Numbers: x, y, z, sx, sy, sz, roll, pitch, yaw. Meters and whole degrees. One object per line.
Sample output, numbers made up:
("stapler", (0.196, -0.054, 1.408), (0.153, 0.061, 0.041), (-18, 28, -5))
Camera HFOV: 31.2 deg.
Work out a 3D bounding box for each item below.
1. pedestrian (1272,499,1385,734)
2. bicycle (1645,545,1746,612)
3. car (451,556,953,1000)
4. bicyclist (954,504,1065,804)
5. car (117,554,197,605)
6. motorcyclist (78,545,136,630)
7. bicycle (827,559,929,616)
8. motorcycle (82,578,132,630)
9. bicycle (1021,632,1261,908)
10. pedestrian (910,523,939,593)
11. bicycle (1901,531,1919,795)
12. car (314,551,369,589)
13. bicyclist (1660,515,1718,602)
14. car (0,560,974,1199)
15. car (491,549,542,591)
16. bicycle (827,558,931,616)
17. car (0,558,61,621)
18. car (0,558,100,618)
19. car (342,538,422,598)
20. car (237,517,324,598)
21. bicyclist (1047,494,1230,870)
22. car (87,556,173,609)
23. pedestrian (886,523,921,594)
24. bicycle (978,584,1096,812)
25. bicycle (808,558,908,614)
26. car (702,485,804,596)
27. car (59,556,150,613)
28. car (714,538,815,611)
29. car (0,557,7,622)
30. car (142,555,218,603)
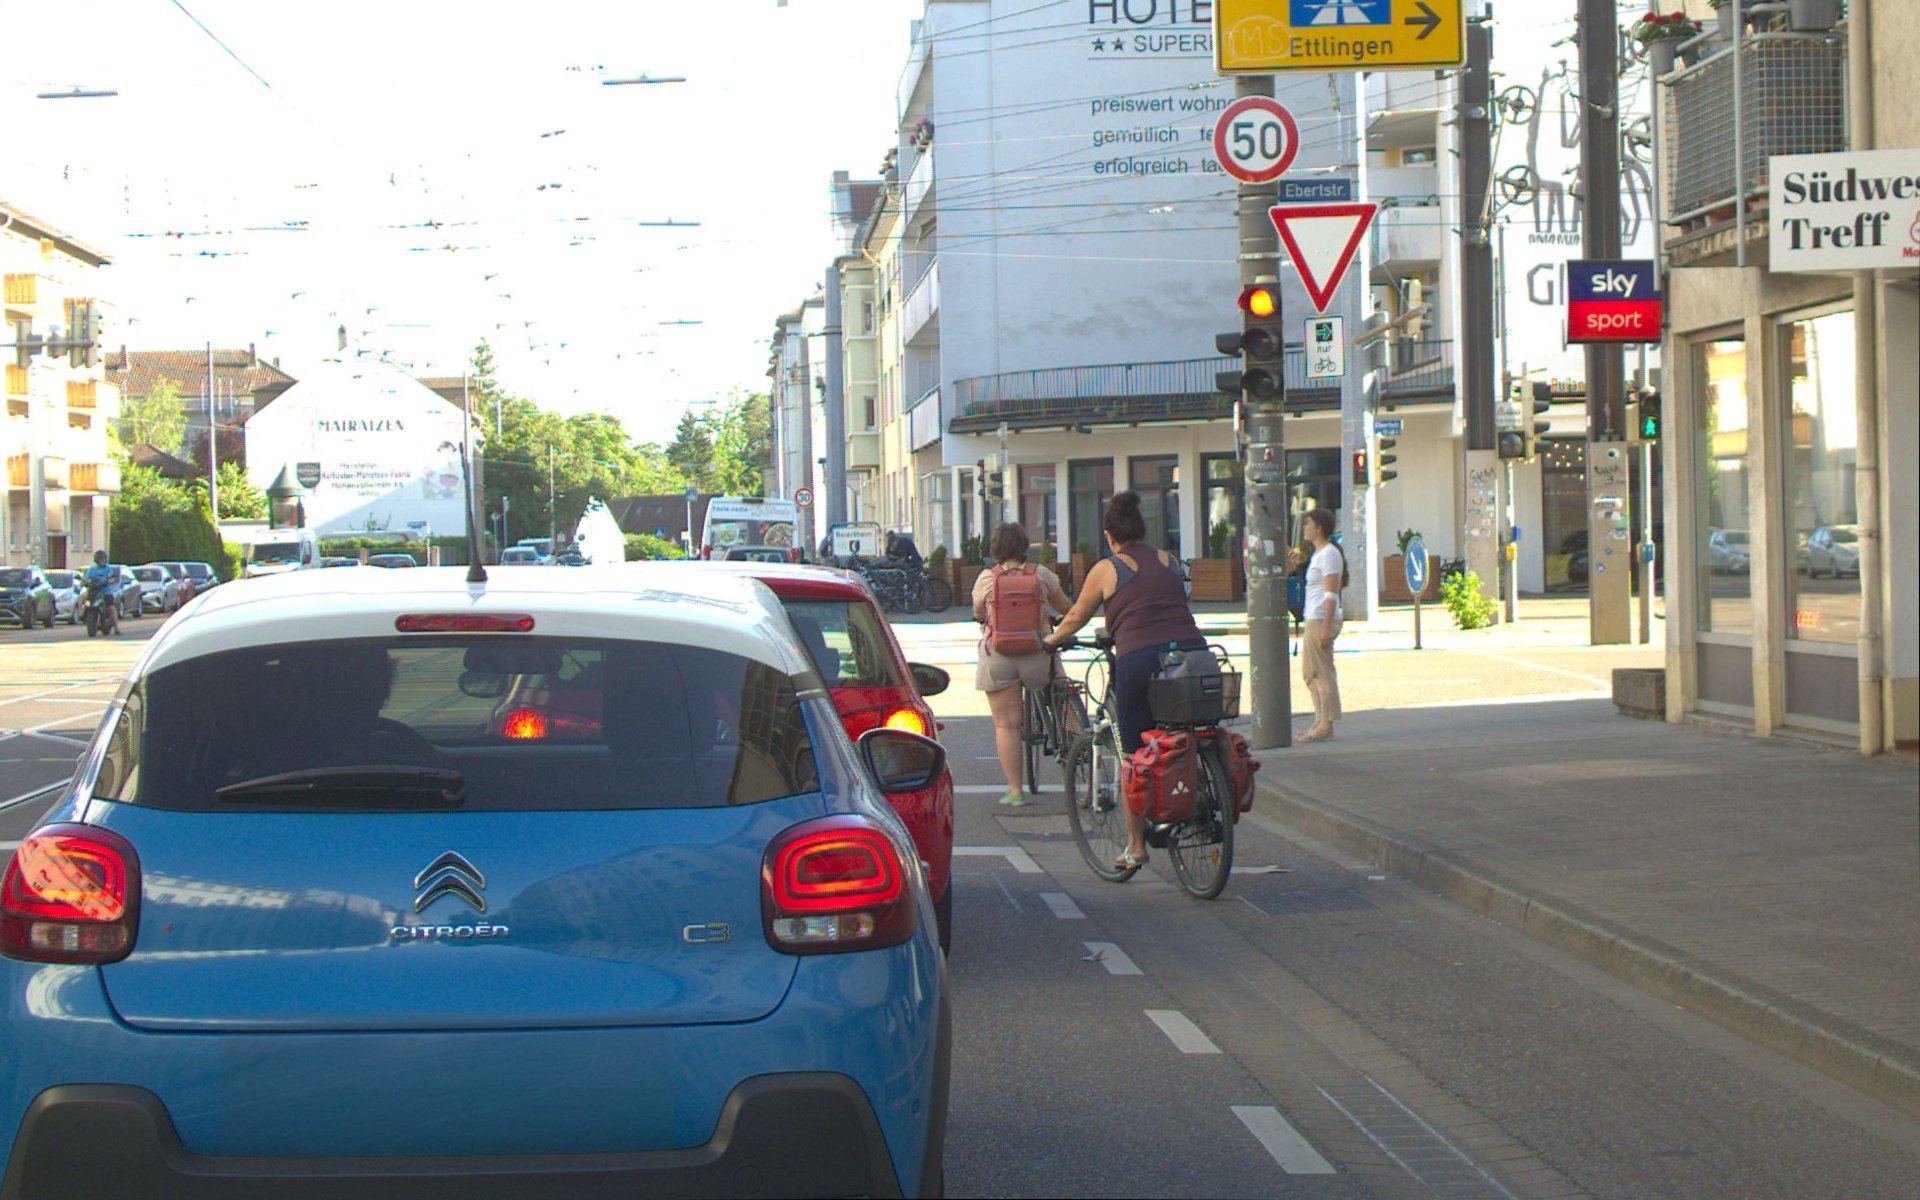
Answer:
("pedestrian", (2.607, 0.106, 24.380), (0.751, 1.629, 0.740), (-1, 1, 6))
("bicycle", (12.151, -0.356, 56.790), (1.492, 1.087, 0.604), (0, 1, 37))
("car", (-1.007, 0.577, 13.590), (1.680, 1.457, 4.001), (0, 1, -4))
("bicyclist", (0.289, 0.303, 20.605), (0.600, 1.740, 1.084), (-1, 1, -1))
("car", (-25.359, -0.675, 108.663), (1.950, 1.514, 4.001), (-1, 1, -6))
("motorcyclist", (-16.675, -0.254, 67.218), (0.991, 1.625, 0.739), (-1, 1, -9))
("bicycle", (-1.607, -0.240, 67.126), (1.904, 1.061, 0.642), (-1, 1, -7))
("motorcycle", (-16.694, 0.071, 67.292), (0.751, 0.973, 2.098), (-1, 1, -9))
("bicycle", (0.782, 0.723, 15.434), (0.616, 1.099, 1.887), (-1, 1, -11))
("pedestrian", (-0.720, -0.851, 70.012), (0.467, 1.415, 0.527), (-1, 1, -13))
("bicycle", (4.913, 0.312, 15.758), (0.640, 1.260, 1.911), (-1, 1, -1))
("car", (-25.976, -1.285, 144.575), (1.950, 1.514, 4.001), (-1, 1, -6))
("bicyclist", (12.058, -0.684, 56.851), (0.728, 1.429, 0.604), (0, 1, 37))
("car", (-0.960, 0.669, 7.381), (1.680, 1.457, 4.001), (0, 1, -4))
("car", (-22.044, -1.507, 170.847), (2.338, 2.032, 5.051), (-1, 1, -6))
("bicycle", (-1.558, -0.246, 65.820), (1.904, 1.061, 0.642), (-1, 1, -7))
("car", (-23.786, -0.270, 85.895), (1.950, 1.514, 4.001), (-1, 1, -6))
("car", (-24.306, -0.338, 91.953), (1.950, 1.514, 4.001), (-1, 1, -6))
("car", (-16.496, -0.943, 98.230), (2.004, 1.622, 5.054), (-1, 1, -7))
("car", (-23.662, -1.508, 119.941), (2.493, 2.703, 5.839), (-1, 1, -7))
("bicyclist", (0.790, 0.349, 15.362), (0.616, 1.624, 0.760), (-1, 1, -11))
("car", (-24.926, -0.545, 103.384), (1.950, 1.514, 4.001), (-1, 1, -6))
("pedestrian", (-1.153, -0.849, 70.264), (0.525, 1.415, 0.546), (-1, 1, 20))
("bicycle", (0.447, 0.559, 20.647), (0.613, 1.260, 1.911), (-1, 1, -1))
("bicycle", (-2.026, -0.277, 68.318), (1.904, 1.061, 0.642), (-1, 1, -7))
("car", (-4.432, -1.281, 73.246), (2.079, 2.262, 5.652), (0, 1, -4))
("car", (-24.458, -0.461, 98.380), (1.950, 1.514, 4.001), (-1, 1, -6))
("car", (-3.882, -0.518, 67.811), (1.786, 1.354, 3.915), (-1, 1, -6))
("car", (-23.321, -0.196, 79.231), (1.950, 1.514, 4.001), (-1, 1, -6))
("car", (-26.068, -0.725, 115.005), (1.950, 1.514, 4.001), (-1, 1, -6))
